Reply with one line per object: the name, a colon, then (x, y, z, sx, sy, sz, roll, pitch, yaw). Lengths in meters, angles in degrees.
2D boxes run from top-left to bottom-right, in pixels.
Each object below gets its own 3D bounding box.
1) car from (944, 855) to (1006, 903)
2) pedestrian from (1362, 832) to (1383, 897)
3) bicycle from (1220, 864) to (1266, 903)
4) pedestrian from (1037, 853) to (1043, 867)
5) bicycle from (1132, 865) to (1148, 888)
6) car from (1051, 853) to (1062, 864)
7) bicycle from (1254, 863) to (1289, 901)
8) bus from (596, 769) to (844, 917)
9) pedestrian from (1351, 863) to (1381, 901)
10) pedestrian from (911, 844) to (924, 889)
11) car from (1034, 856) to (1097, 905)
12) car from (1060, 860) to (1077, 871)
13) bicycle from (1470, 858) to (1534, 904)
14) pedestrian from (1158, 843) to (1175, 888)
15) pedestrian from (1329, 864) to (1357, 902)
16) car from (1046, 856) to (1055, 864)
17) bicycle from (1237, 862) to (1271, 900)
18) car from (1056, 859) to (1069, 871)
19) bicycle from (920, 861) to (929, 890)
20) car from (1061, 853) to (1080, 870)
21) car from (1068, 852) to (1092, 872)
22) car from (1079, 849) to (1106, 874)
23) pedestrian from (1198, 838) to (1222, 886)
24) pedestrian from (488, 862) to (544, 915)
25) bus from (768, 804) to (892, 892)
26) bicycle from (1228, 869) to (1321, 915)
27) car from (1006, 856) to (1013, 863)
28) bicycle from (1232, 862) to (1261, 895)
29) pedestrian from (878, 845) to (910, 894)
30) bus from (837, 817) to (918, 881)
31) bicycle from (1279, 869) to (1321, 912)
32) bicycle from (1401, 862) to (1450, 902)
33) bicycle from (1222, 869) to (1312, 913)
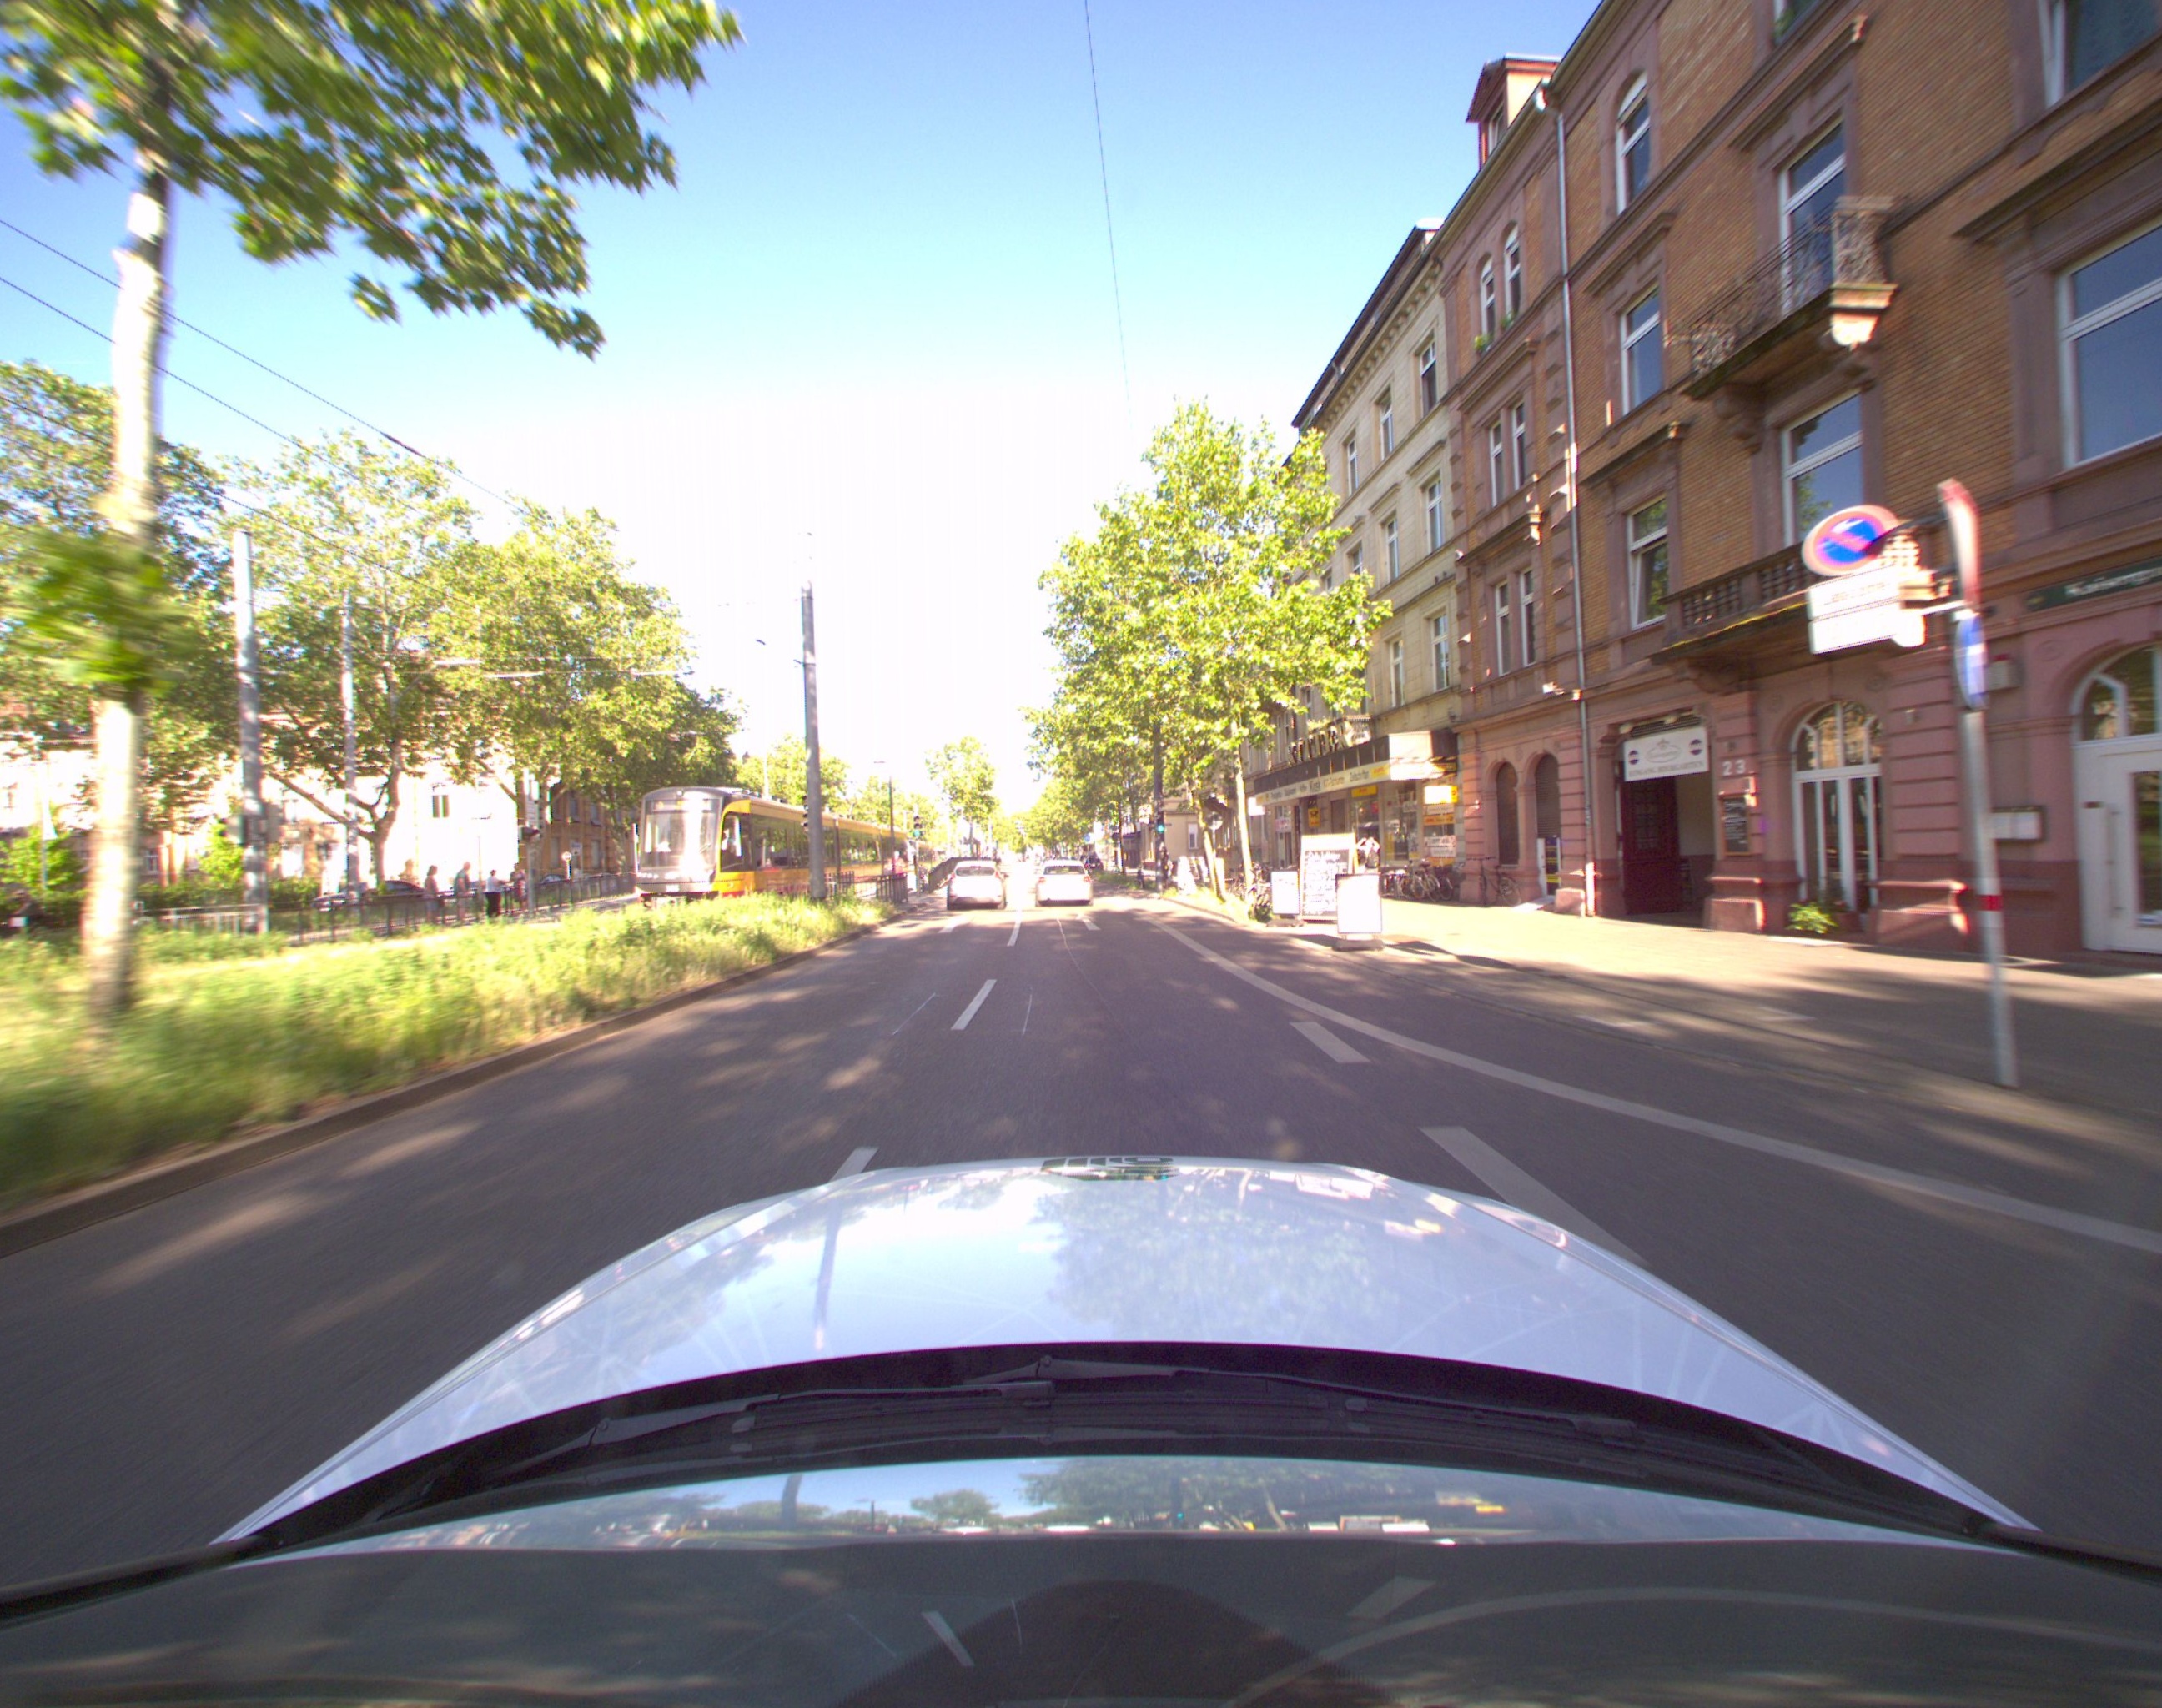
car: (-3.187, 0.715, 25.043, 1.643, 1.363, 3.754, 0, 0, -4)
pedestrian: (8.262, 0.299, 23.097, 0.463, 1.810, 0.778, 0, 0, 27)
bicycle: (4.319, 0.765, 21.791, 0.444, 0.993, 1.678, 0, 0, -19)
pedestrian: (-6.028, 0.930, 120.681, 0.835, 2.014, 0.649, 0, 0, 2)
bicycle: (2.618, 0.994, 36.227, 0.427, 0.970, 1.747, 0, 0, -4)
car: (-4.198, 0.867, 140.599, 1.721, 1.881, 3.994, 0, -1, -4)
bicycle: (5.270, 0.762, 22.593, 0.442, 0.993, 1.685, 0, 0, -5)
bus: (-10.594, -0.250, 26.206, 2.864, 3.444, 13.196, -2, 0, -4)
pedestrian: (8.943, 0.882, 25.570, 0.647, 1.161, 0.607, 0, 0, -16)
pedestrian: (-7.003, 0.529, 34.894, 0.451, 1.902, 0.582, -2, 0, -12)
car: (-0.570, 0.776, 26.058, 1.759, 1.432, 3.993, 0, 0, -5)
car: (-1.727, 1.537, 109.794, 1.990, 1.509, 4.590, 0, -1, -4)
bicycle: (9.437, 0.582, 18.312, 0.442, 0.993, 1.685, 0, 0, -5)
pedestrian: (3.412, 0.455, 32.562, 0.639, 1.771, 0.869, 0, 0, 1)
pedestrian: (8.367, 0.913, 25.999, 0.776, 1.161, 0.465, 0, 0, -30)
car: (-5.936, 1.157, 156.943, 1.697, 1.534, 3.711, 0, 0, -4)
bicycle: (4.758, 0.740, 22.520, 0.442, 0.993, 1.685, 0, 0, -5)
car: (-2.653, 1.525, 115.013, 1.666, 1.551, 3.994, 0, 0, -4)
bicycle: (-6.739, 0.902, 35.031, 0.328, 1.214, 1.822, -2, 0, -10)
car: (-1.127, 0.752, 83.746, 1.689, 1.658, 4.032, -2, 0, -5)
car: (-0.165, 0.735, 74.768, 1.795, 1.700, 4.729, -2, 0, -5)
car: (0.935, 0.613, 68.386, 1.752, 1.965, 4.729, -1, 0, -5)
pedestrian: (5.463, 0.337, 34.554, 0.879, 2.013, 0.856, 0, 0, -1)
pedestrian: (-18.264, 1.092, 26.348, 1.177, 1.643, 0.889, -2, -1, -12)
bus: (-11.500, -0.235, 38.816, 2.864, 3.444, 12.196, -2, 0, -4)
bicycle: (4.356, 0.843, 18.340, 2.001, 0.993, 0.443, 0, 0, -7)
car: (-21.832, 1.682, 248.909, 1.990, 2.013, 3.994, 0, 0, -4)
bicycle: (5.120, 0.740, 25.273, 0.442, 0.993, 1.685, 0, 0, -5)
pedestrian: (-7.513, 0.627, 32.830, 1.071, 1.916, 1.124, -2, 0, -7)
bus: (-12.403, -0.264, 50.819, 2.864, 3.444, 11.593, -2, 0, -4)
bicycle: (5.412, 0.880, 20.171, 0.442, 0.993, 1.685, 0, 0, -5)
bicycle: (8.887, 0.701, 21.073, 0.442, 0.993, 1.685, 0, 0, -5)
bicycle: (4.300, 0.846, 18.823, 2.012, 0.993, 0.443, 0, 0, -7)
